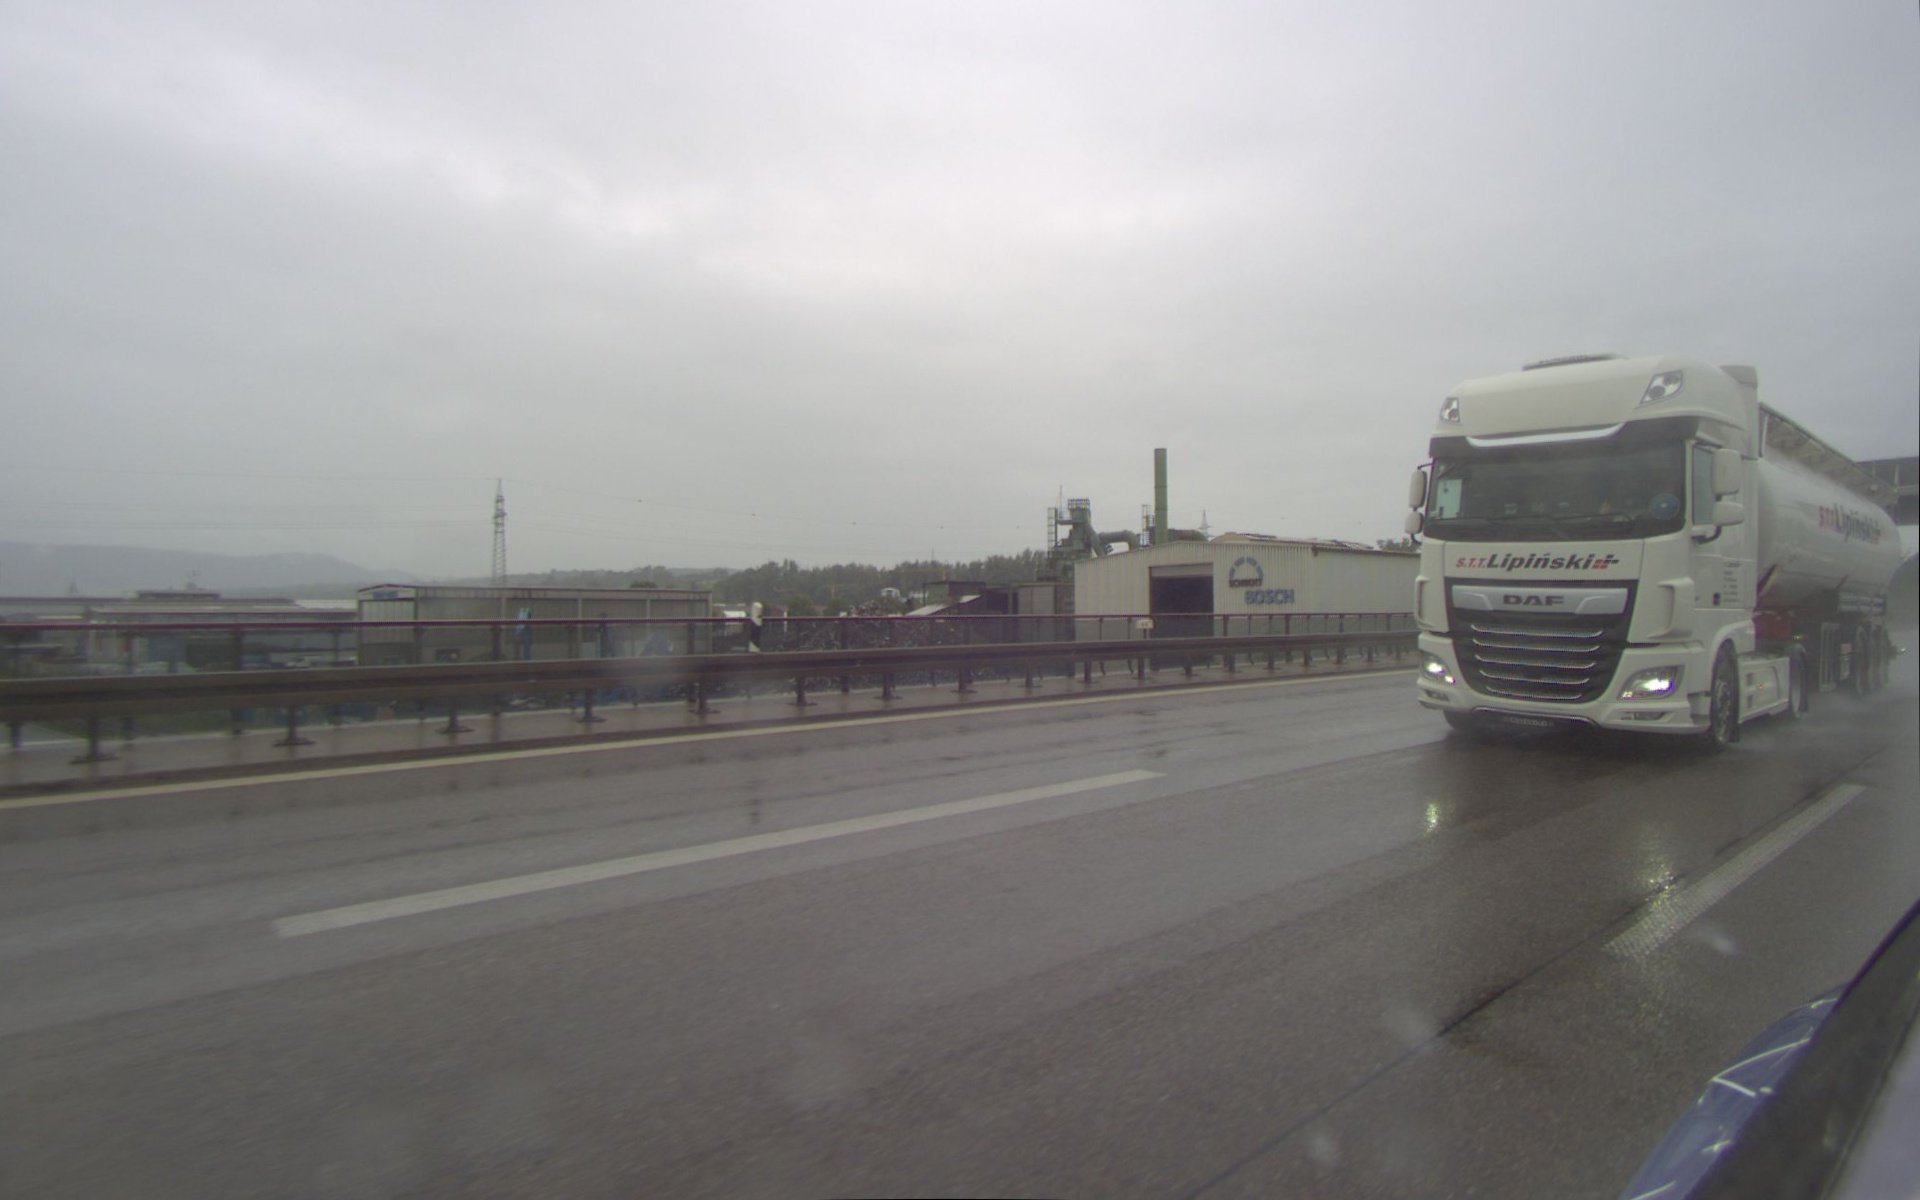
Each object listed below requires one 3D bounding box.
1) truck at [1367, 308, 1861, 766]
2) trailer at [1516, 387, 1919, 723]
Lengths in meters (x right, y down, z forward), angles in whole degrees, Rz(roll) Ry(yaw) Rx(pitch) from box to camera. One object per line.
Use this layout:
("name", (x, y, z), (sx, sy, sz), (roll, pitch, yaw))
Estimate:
("truck", (8.061, -0.543, 12.039), (7.086, 3.855, 3.110), (0, 0, -41))
("trailer", (12.826, -0.451, 16.192), (11.462, 3.717, 3.193), (1, -1, -41))
